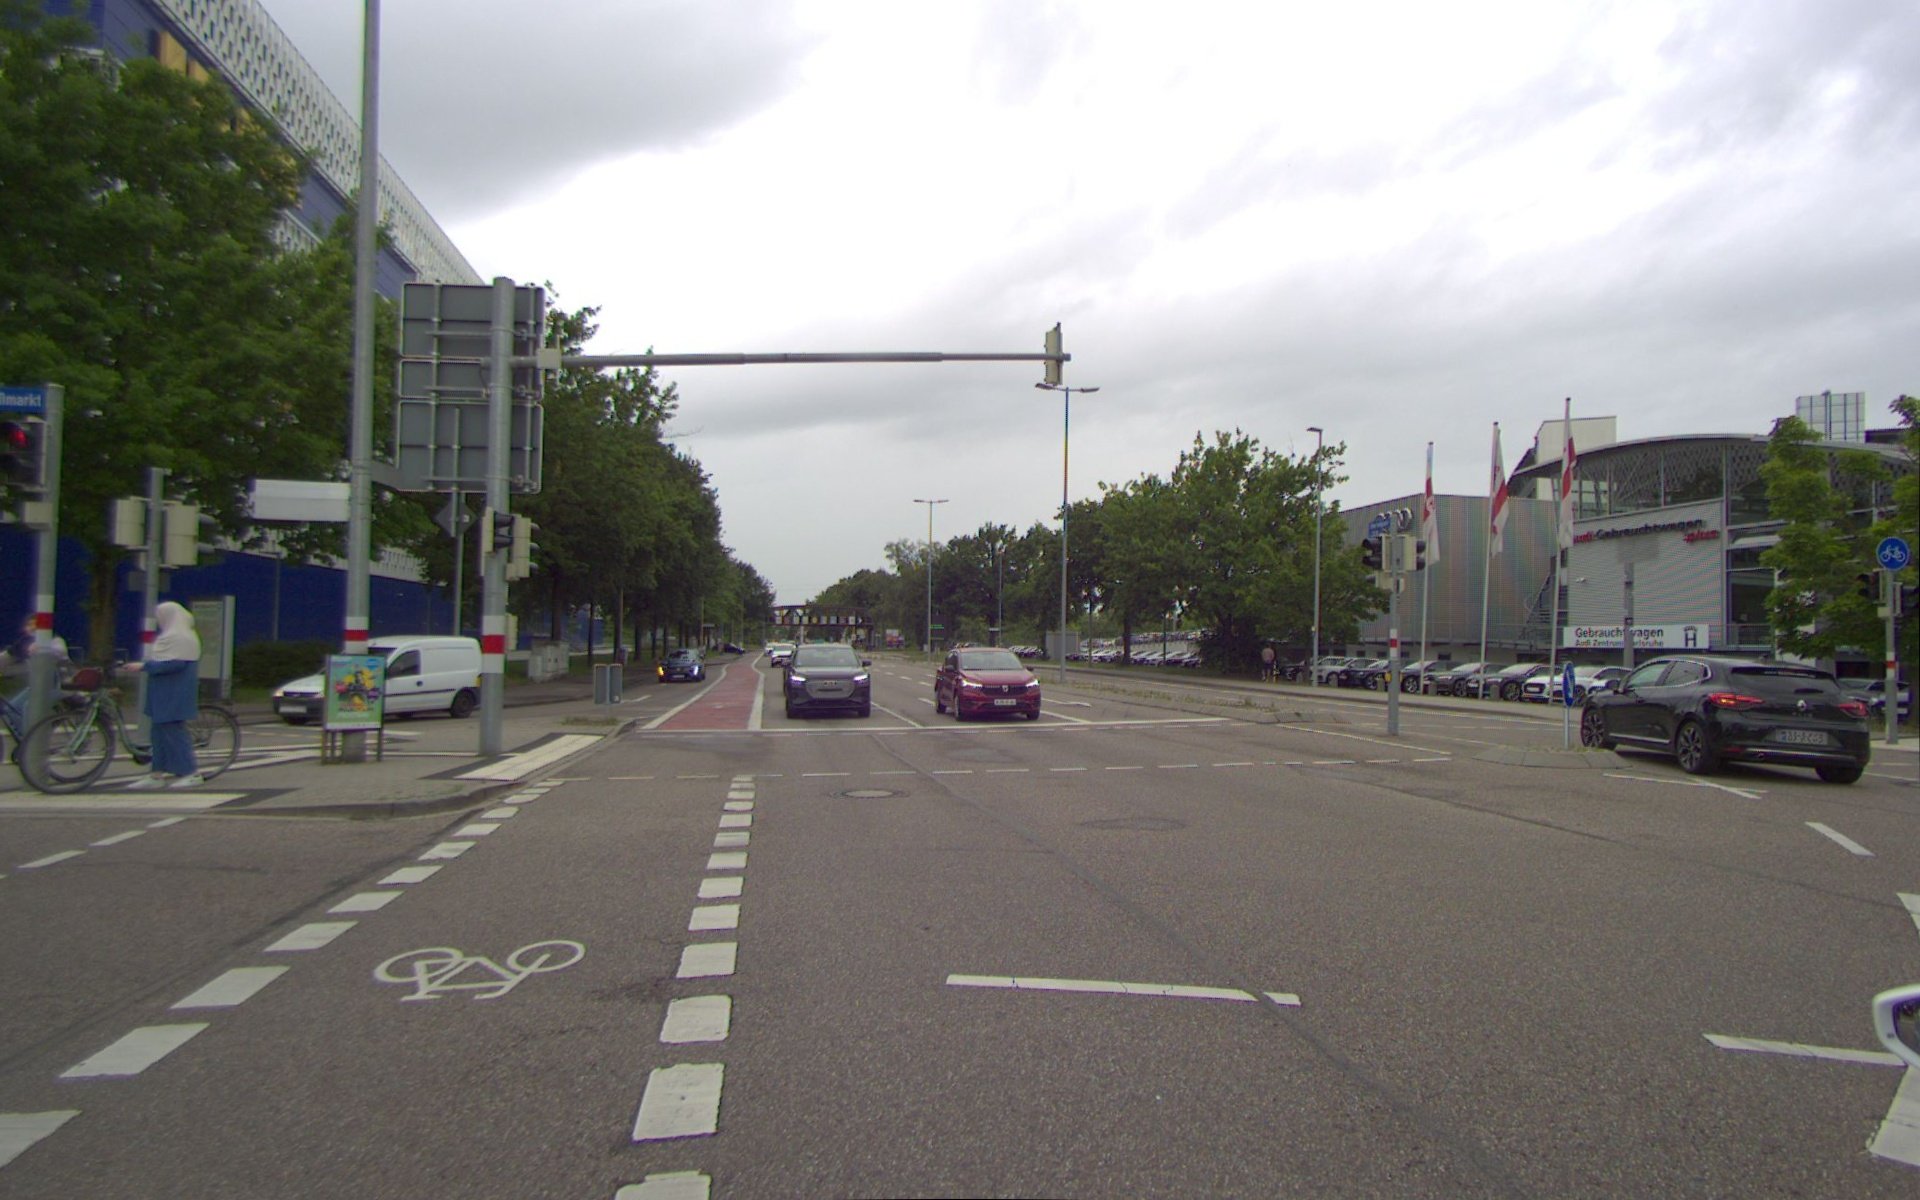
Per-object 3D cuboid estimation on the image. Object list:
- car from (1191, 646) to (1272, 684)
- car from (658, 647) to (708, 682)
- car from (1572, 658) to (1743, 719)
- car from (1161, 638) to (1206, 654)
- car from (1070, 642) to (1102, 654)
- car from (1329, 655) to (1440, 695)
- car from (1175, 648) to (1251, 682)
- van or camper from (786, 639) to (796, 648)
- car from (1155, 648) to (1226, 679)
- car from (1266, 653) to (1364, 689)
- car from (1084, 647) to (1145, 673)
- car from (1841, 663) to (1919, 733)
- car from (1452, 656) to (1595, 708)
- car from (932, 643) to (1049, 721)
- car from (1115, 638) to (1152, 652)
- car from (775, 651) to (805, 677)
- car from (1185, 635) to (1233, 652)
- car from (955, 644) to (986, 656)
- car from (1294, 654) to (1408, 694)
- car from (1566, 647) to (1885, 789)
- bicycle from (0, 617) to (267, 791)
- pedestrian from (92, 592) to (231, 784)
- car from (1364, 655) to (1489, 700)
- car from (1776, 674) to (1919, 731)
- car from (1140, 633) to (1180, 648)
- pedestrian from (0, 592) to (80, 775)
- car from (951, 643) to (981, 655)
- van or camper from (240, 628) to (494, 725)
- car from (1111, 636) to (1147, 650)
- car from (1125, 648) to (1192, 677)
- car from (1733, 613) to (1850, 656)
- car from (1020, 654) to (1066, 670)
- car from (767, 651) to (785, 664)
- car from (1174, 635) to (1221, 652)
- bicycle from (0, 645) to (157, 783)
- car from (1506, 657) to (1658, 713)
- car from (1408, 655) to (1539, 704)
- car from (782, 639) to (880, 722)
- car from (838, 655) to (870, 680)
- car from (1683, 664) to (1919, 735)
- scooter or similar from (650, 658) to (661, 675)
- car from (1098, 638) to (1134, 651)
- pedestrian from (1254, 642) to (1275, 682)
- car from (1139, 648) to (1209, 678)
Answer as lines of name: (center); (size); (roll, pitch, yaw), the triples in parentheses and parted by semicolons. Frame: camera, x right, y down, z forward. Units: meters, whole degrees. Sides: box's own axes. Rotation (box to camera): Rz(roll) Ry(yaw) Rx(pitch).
car: (16.284, 3.907, 60.417); (4.179, 1.622, 1.872); (8, -2, -11)
car: (-12.502, 2.890, 45.525); (1.671, 1.506, 4.114); (1, -3, -9)
car: (21.078, 2.656, 30.411); (4.124, 1.505, 1.850); (5, -3, -10)
car: (23.926, 4.949, 107.604); (4.274, 1.516, 1.966); (3, -1, -12)
car: (17.533, 6.614, 139.765); (4.027, 1.455, 1.726); (3, -1, -12)
car: (18.501, 3.282, 43.844); (4.095, 1.408, 1.899); (5, -3, -11)
car: (15.889, 4.095, 63.063); (4.150, 1.504, 1.822); (8, -2, -11)
van or camper: (-33.149, 8.534, 196.805); (1.729, 1.770, 4.399); (-2, -2, -10)
car: (15.078, 4.148, 65.791); (4.007, 1.505, 1.815); (7, -2, -11)
car: (17.370, 3.477, 49.240); (4.144, 1.439, 1.852); (4, -3, -11)
car: (12.497, 4.833, 81.163); (4.331, 1.539, 1.997); (8, -2, -10)
car: (22.756, 2.323, 22.698); (4.439, 1.505, 2.066); (5, -4, -12)
car: (19.946, 2.892, 35.631); (4.157, 1.505, 1.868); (5, -3, -10)
car: (0.546, 1.716, 21.630); (1.709, 1.507, 4.073); (0, -3, -10)
car: (20.725, 5.356, 120.007); (4.027, 1.455, 1.726); (3, -1, -12)
car: (-12.069, 4.467, 70.973); (1.964, 1.615, 4.569); (-2, -1, -11)
car: (25.341, 4.466, 102.308); (4.274, 1.516, 1.878); (3, -1, -12)
car: (1.410, 6.809, 136.460); (3.924, 1.455, 1.729); (3, -1, -4)
car: (18.082, 3.396, 46.500); (4.583, 1.491, 1.844); (4, -2, -11)
car: (9.656, 1.392, 13.115); (1.727, 1.453, 4.003); (1, -2, 11)
bicycle: (-7.495, 0.904, 9.186); (0.585, 1.414, 1.935); (-1, -4, 16)
pedestrian: (-7.189, 0.779, 9.066); (0.629, 1.647, 0.692); (-1, -4, 24)
car: (19.081, 3.155, 41.149); (4.303, 1.489, 1.891); (5, -3, -11)
car: (31.109, 3.576, 35.011); (4.242, 1.718, 1.807); (3, -1, -11)
car: (22.411, 4.575, 112.623); (4.027, 1.516, 1.726); (3, -1, -12)
pedestrian: (-8.484, 0.720, 8.921); (0.641, 1.569, 0.650); (3, -3, 16)
car: (0.818, 6.789, 138.742); (3.924, 1.455, 1.729); (3, -1, -4)
van or camper: (-11.854, 1.556, 20.509); (1.959, 1.744, 4.400); (0, -5, 11)
car: (20.641, 5.233, 122.715); (4.027, 1.455, 1.726); (3, -1, -12)
car: (13.988, 4.412, 70.825); (4.122, 1.505, 1.973); (7, -2, -10)
car: (35.758, 1.472, 43.241); (3.930, 1.684, 1.821); (3, -1, -12)
car: (8.548, 6.370, 103.197); (4.381, 1.592, 1.996); (1, -2, -11)
car: (-21.879, 6.851, 119.667); (1.828, 1.481, 4.328); (0, -2, -7)
car: (24.681, 4.507, 104.619); (4.274, 1.516, 2.065); (3, -1, -12)
bicycle: (-8.489, 1.010, 9.059); (0.498, 1.180, 1.949); (3, -3, 15)
car: (20.342, 2.763, 32.897); (3.973, 1.505, 1.874); (5, -3, -10)
car: (19.562, 3.028, 38.318); (4.118, 1.505, 1.905); (5, -3, -11)
car: (-3.065, 1.778, 23.138); (1.853, 1.658, 4.325); (-1, -2, -12)
car: (-7.257, 4.554, 68.356); (1.830, 1.481, 4.324); (0, -2, -11)
car: (22.116, 2.567, 26.716); (1.859, 1.505, 4.748); (5, -3, -9)
scooter or similar: (-22.689, 4.942, 74.859); (0.646, 1.211, 1.375); (3, -2, -13)
car: (19.845, 5.657, 127.817); (4.139, 1.455, 1.726); (3, -1, -12)
pedestrian: (14.900, 3.015, 49.145); (0.706, 1.895, 0.672); (3, -3, -10)
car: (14.519, 4.277, 68.329); (4.137, 1.505, 1.955); (7, -2, -11)
